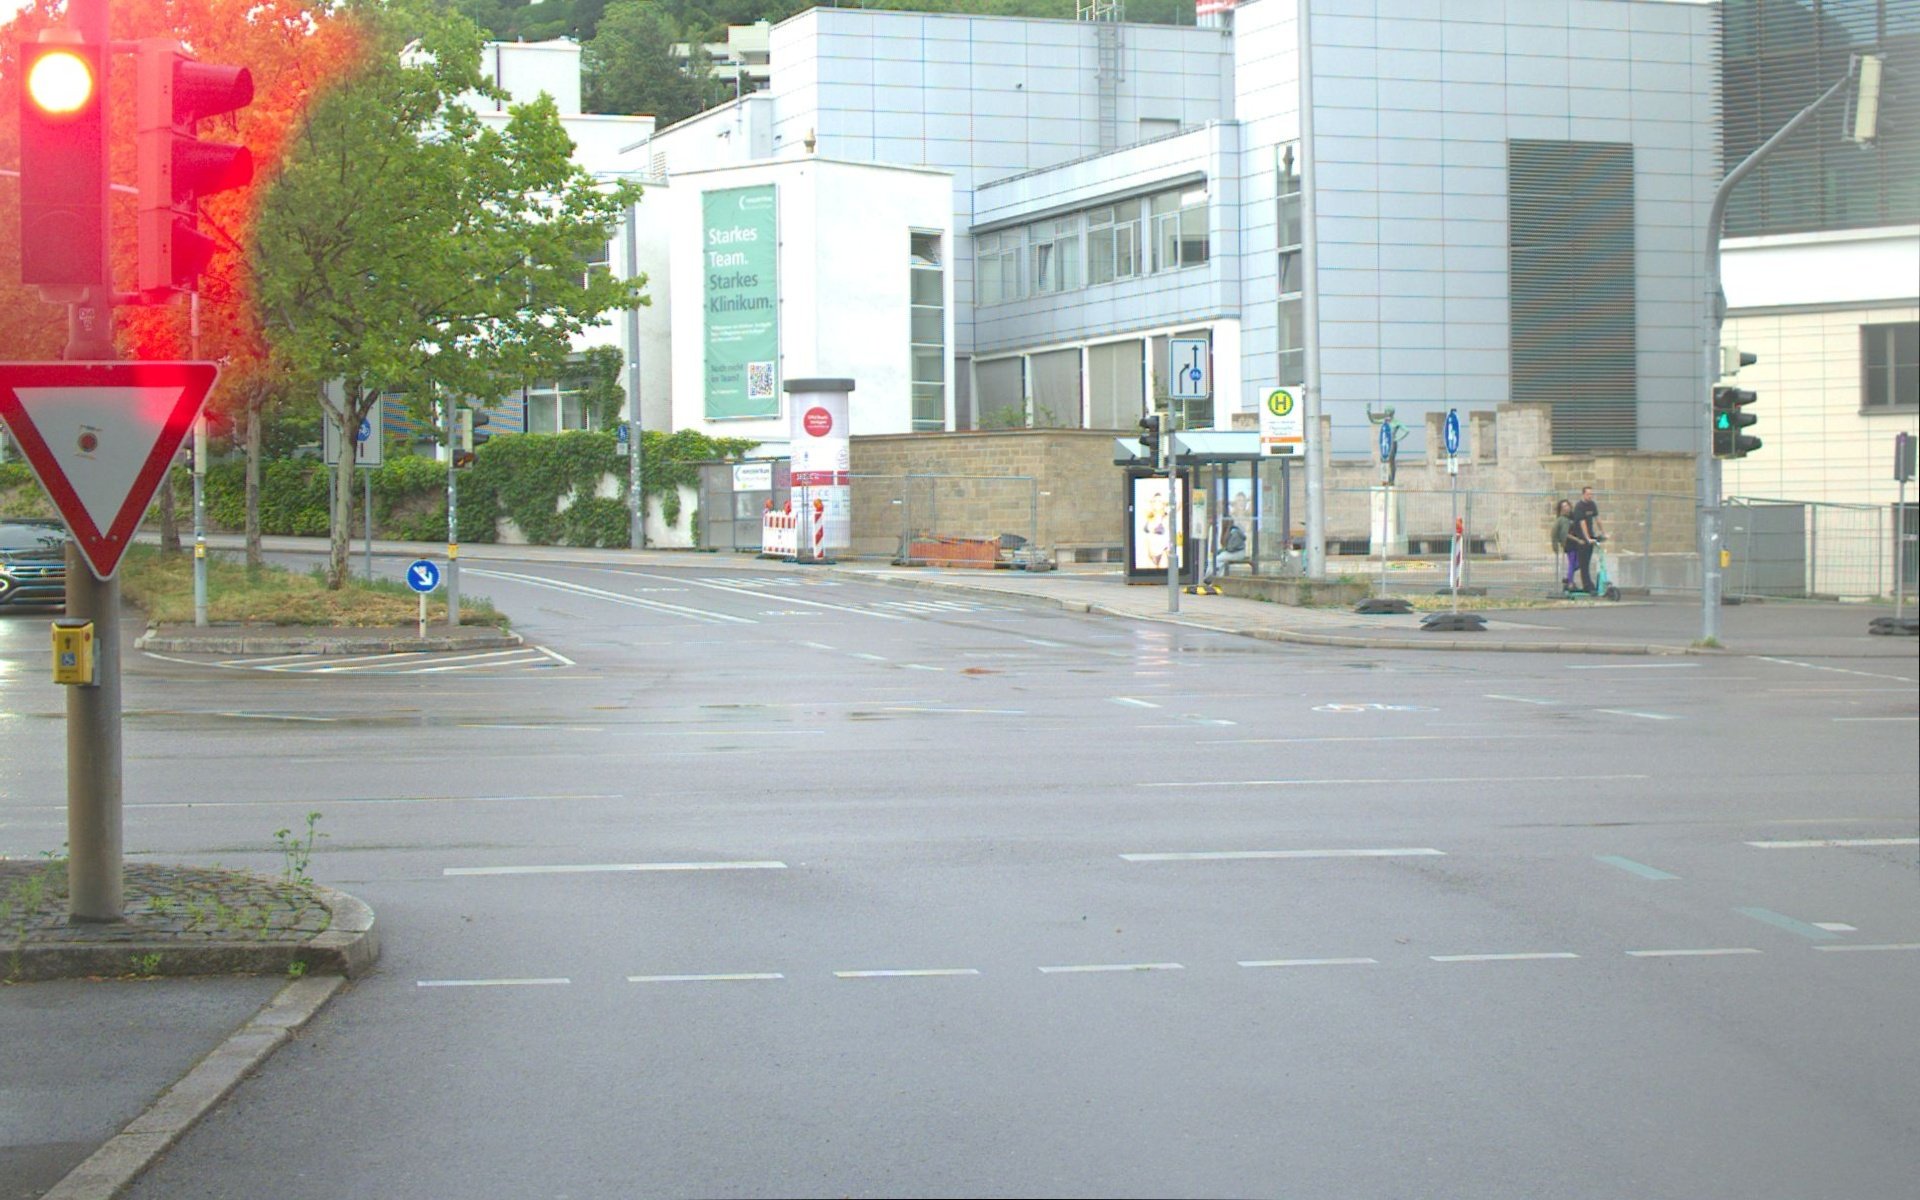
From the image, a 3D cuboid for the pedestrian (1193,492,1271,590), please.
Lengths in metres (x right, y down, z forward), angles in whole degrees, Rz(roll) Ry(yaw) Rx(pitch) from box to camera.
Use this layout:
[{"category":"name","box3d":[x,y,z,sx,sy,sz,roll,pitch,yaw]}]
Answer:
[{"category":"pedestrian","box3d":[4.866,-1.054,61.650,1.257,1.713,1.016,1,0,-2]}]

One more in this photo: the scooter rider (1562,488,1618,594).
[{"category":"scooter rider","box3d":[11.252,-1.048,61.385,0.723,1.877,0.632,1,0,-20]}]

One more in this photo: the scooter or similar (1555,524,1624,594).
[{"category":"scooter or similar","box3d":[11.240,-0.727,61.393,0.591,1.234,1.314,1,0,-22]}]

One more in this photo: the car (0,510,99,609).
[{"category":"car","box3d":[-15.663,-0.702,57.722,1.788,1.579,4.001,-1,2,-22]}]
